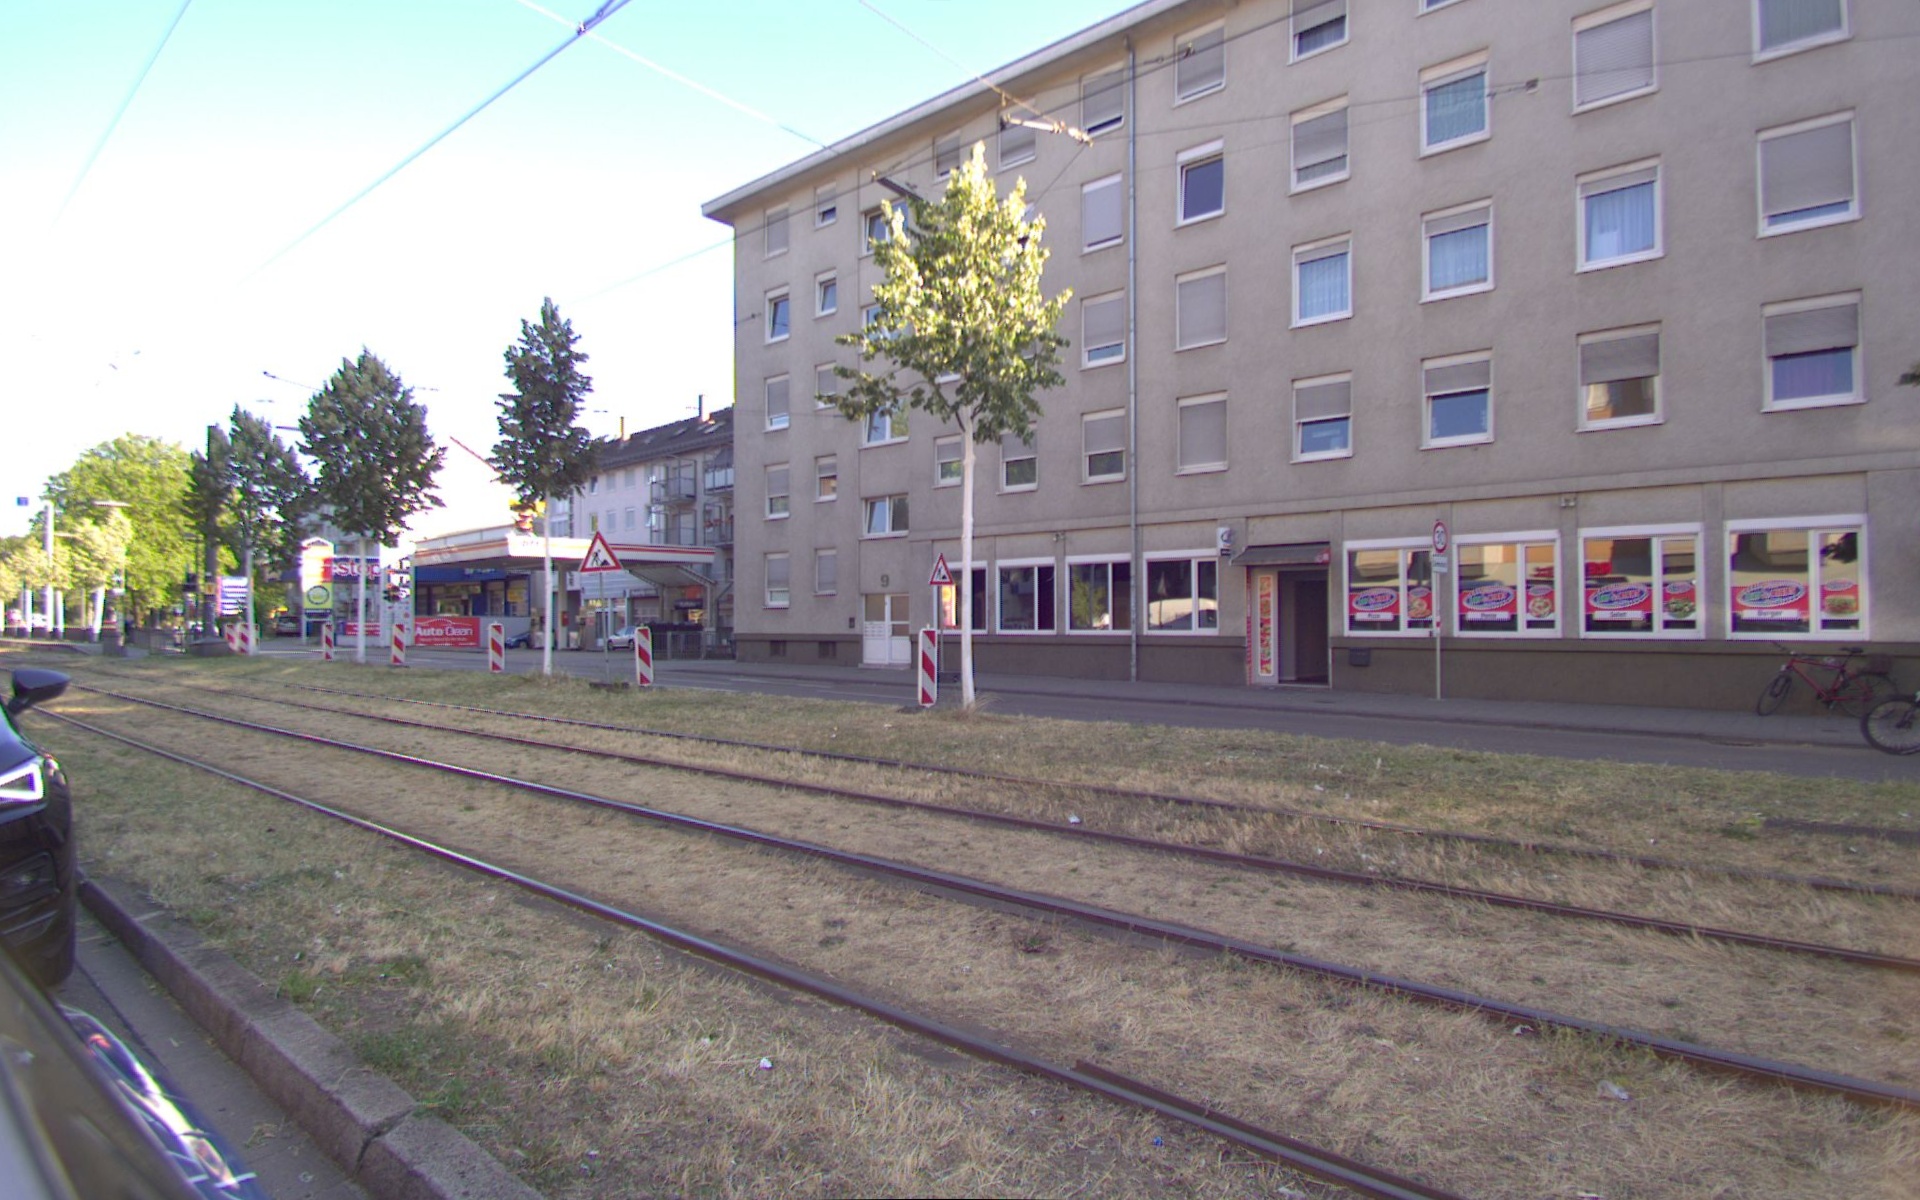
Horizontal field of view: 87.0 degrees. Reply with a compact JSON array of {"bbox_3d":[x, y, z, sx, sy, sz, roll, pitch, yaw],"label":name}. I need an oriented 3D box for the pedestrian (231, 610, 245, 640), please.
[{"bbox_3d":[-48.583,1.669,68.089,0.583,2.029,0.623,-2,-2,42],"label":"pedestrian"}]

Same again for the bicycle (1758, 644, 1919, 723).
[{"bbox_3d":[12.788,1.178,14.711,1.844,1.031,0.601,-1,0,41],"label":"bicycle"}]

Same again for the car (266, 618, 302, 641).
[{"bbox_3d":[-49.983,2.141,74.794,1.756,1.567,4.006,-1,0,-40],"label":"car"}]

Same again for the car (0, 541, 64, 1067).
[{"bbox_3d":[-5.069,0.706,4.022,3.998,1.690,1.752,-2,0,41],"label":"car"}]

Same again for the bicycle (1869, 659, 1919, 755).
[{"bbox_3d":[11.380,1.210,11.242,1.858,1.052,0.441,-1,-2,39],"label":"bicycle"}]

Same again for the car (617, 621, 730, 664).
[{"bbox_3d":[-10.739,1.595,38.101,1.906,1.481,3.680,-4,-4,40],"label":"car"}]

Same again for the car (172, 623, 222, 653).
[{"bbox_3d":[-44.526,2.167,59.010,3.828,1.622,1.701,-1,0,43],"label":"car"}]

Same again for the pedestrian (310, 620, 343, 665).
[{"bbox_3d":[-18.293,1.225,29.234,0.581,1.280,0.655,-2,-1,42],"label":"pedestrian"}]
